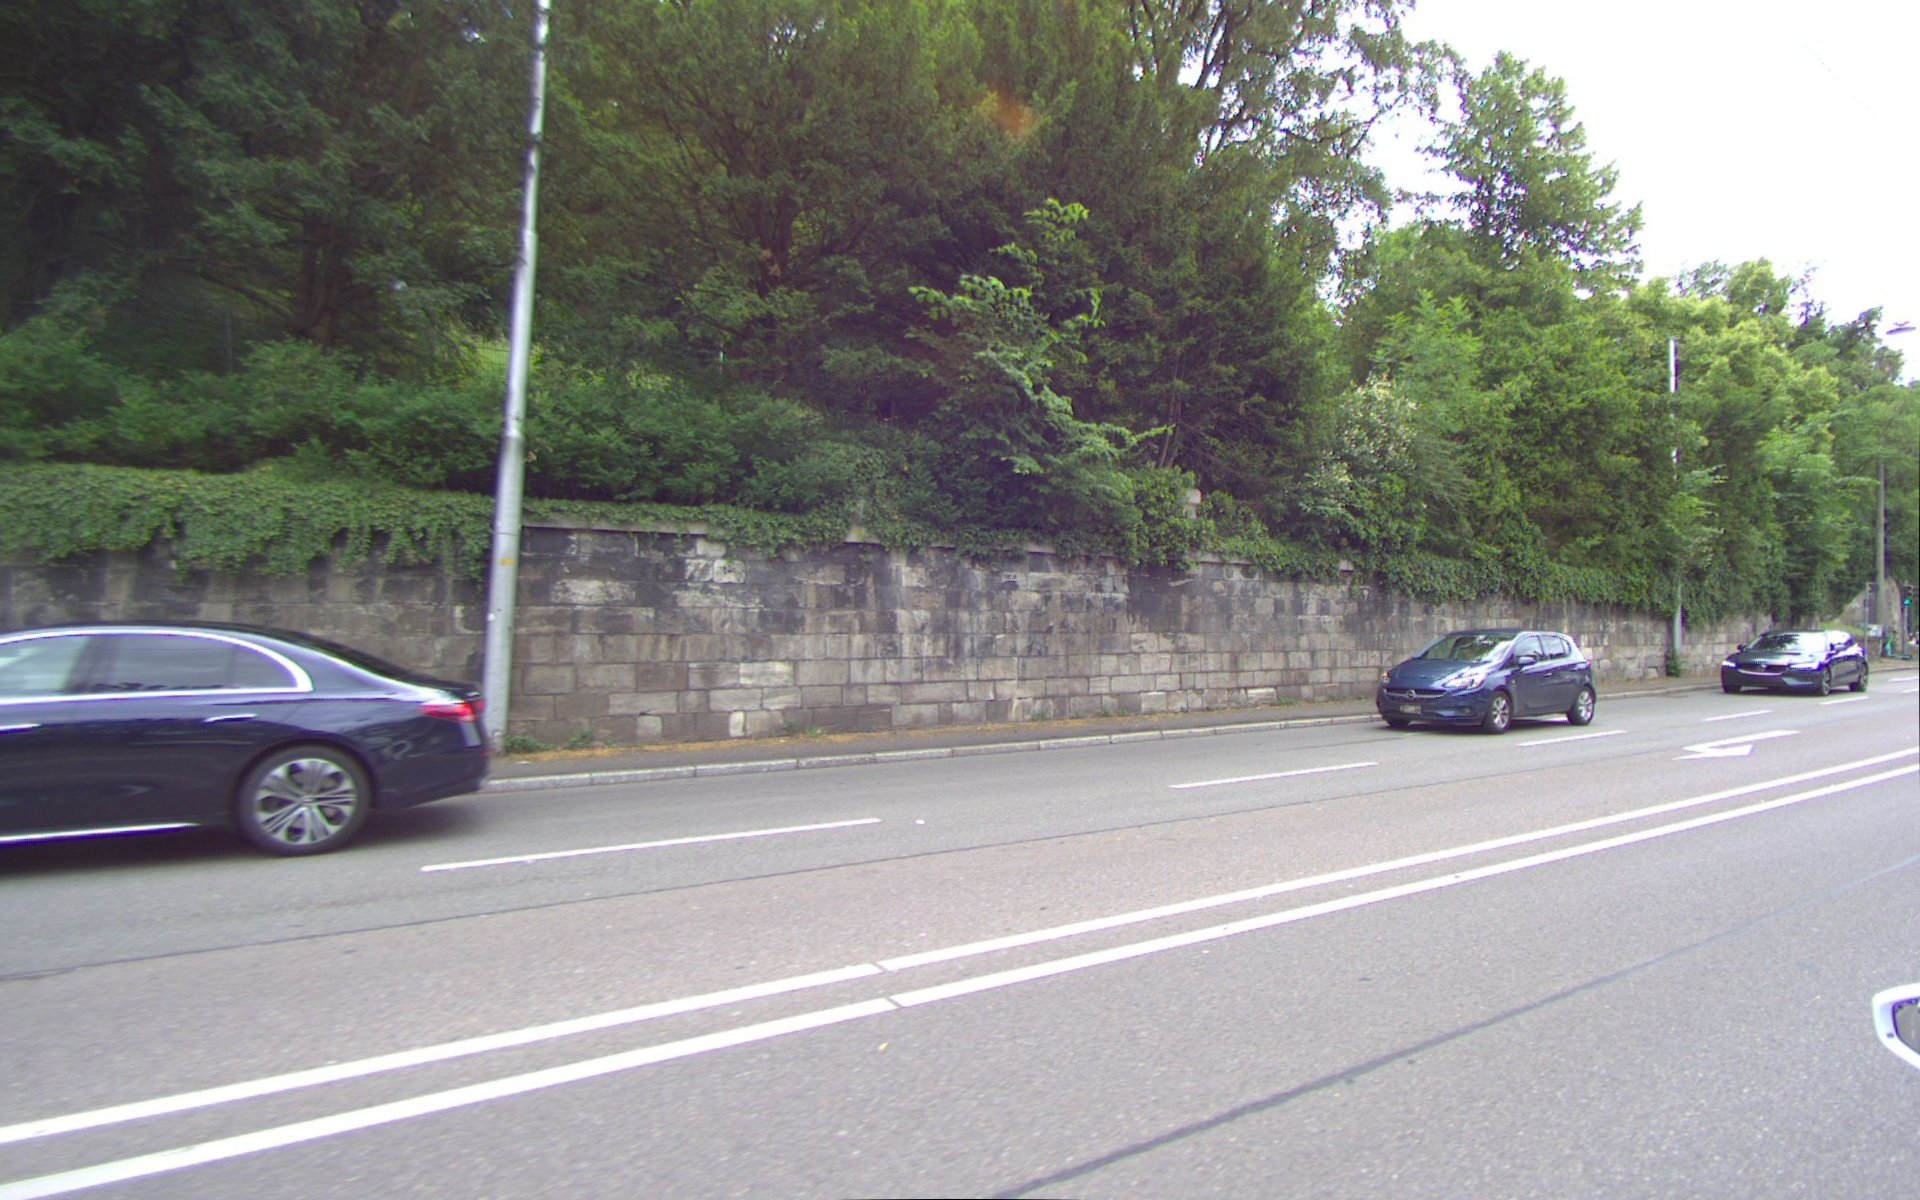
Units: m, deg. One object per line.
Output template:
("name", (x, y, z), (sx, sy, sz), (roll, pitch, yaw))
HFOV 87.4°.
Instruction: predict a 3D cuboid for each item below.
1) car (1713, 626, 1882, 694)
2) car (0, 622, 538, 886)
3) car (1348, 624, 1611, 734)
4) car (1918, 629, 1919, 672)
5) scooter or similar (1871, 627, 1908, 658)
("car", (19.282, 1.337, 23.072), (4.409, 1.427, 1.832), (2, -3, -34))
("car", (-5.400, 0.874, 6.503), (4.700, 1.427, 1.993), (2, -2, -31))
("car", (7.893, 1.116, 15.188), (3.957, 1.455, 1.832), (1, -2, -33))
("car", (33.538, 1.675, 33.491), (4.212, 1.420, 1.552), (2, -3, -36))
("scooter or similar", (40.681, 1.860, 43.959), (1.076, 1.254, 0.434), (4, 2, 5))
